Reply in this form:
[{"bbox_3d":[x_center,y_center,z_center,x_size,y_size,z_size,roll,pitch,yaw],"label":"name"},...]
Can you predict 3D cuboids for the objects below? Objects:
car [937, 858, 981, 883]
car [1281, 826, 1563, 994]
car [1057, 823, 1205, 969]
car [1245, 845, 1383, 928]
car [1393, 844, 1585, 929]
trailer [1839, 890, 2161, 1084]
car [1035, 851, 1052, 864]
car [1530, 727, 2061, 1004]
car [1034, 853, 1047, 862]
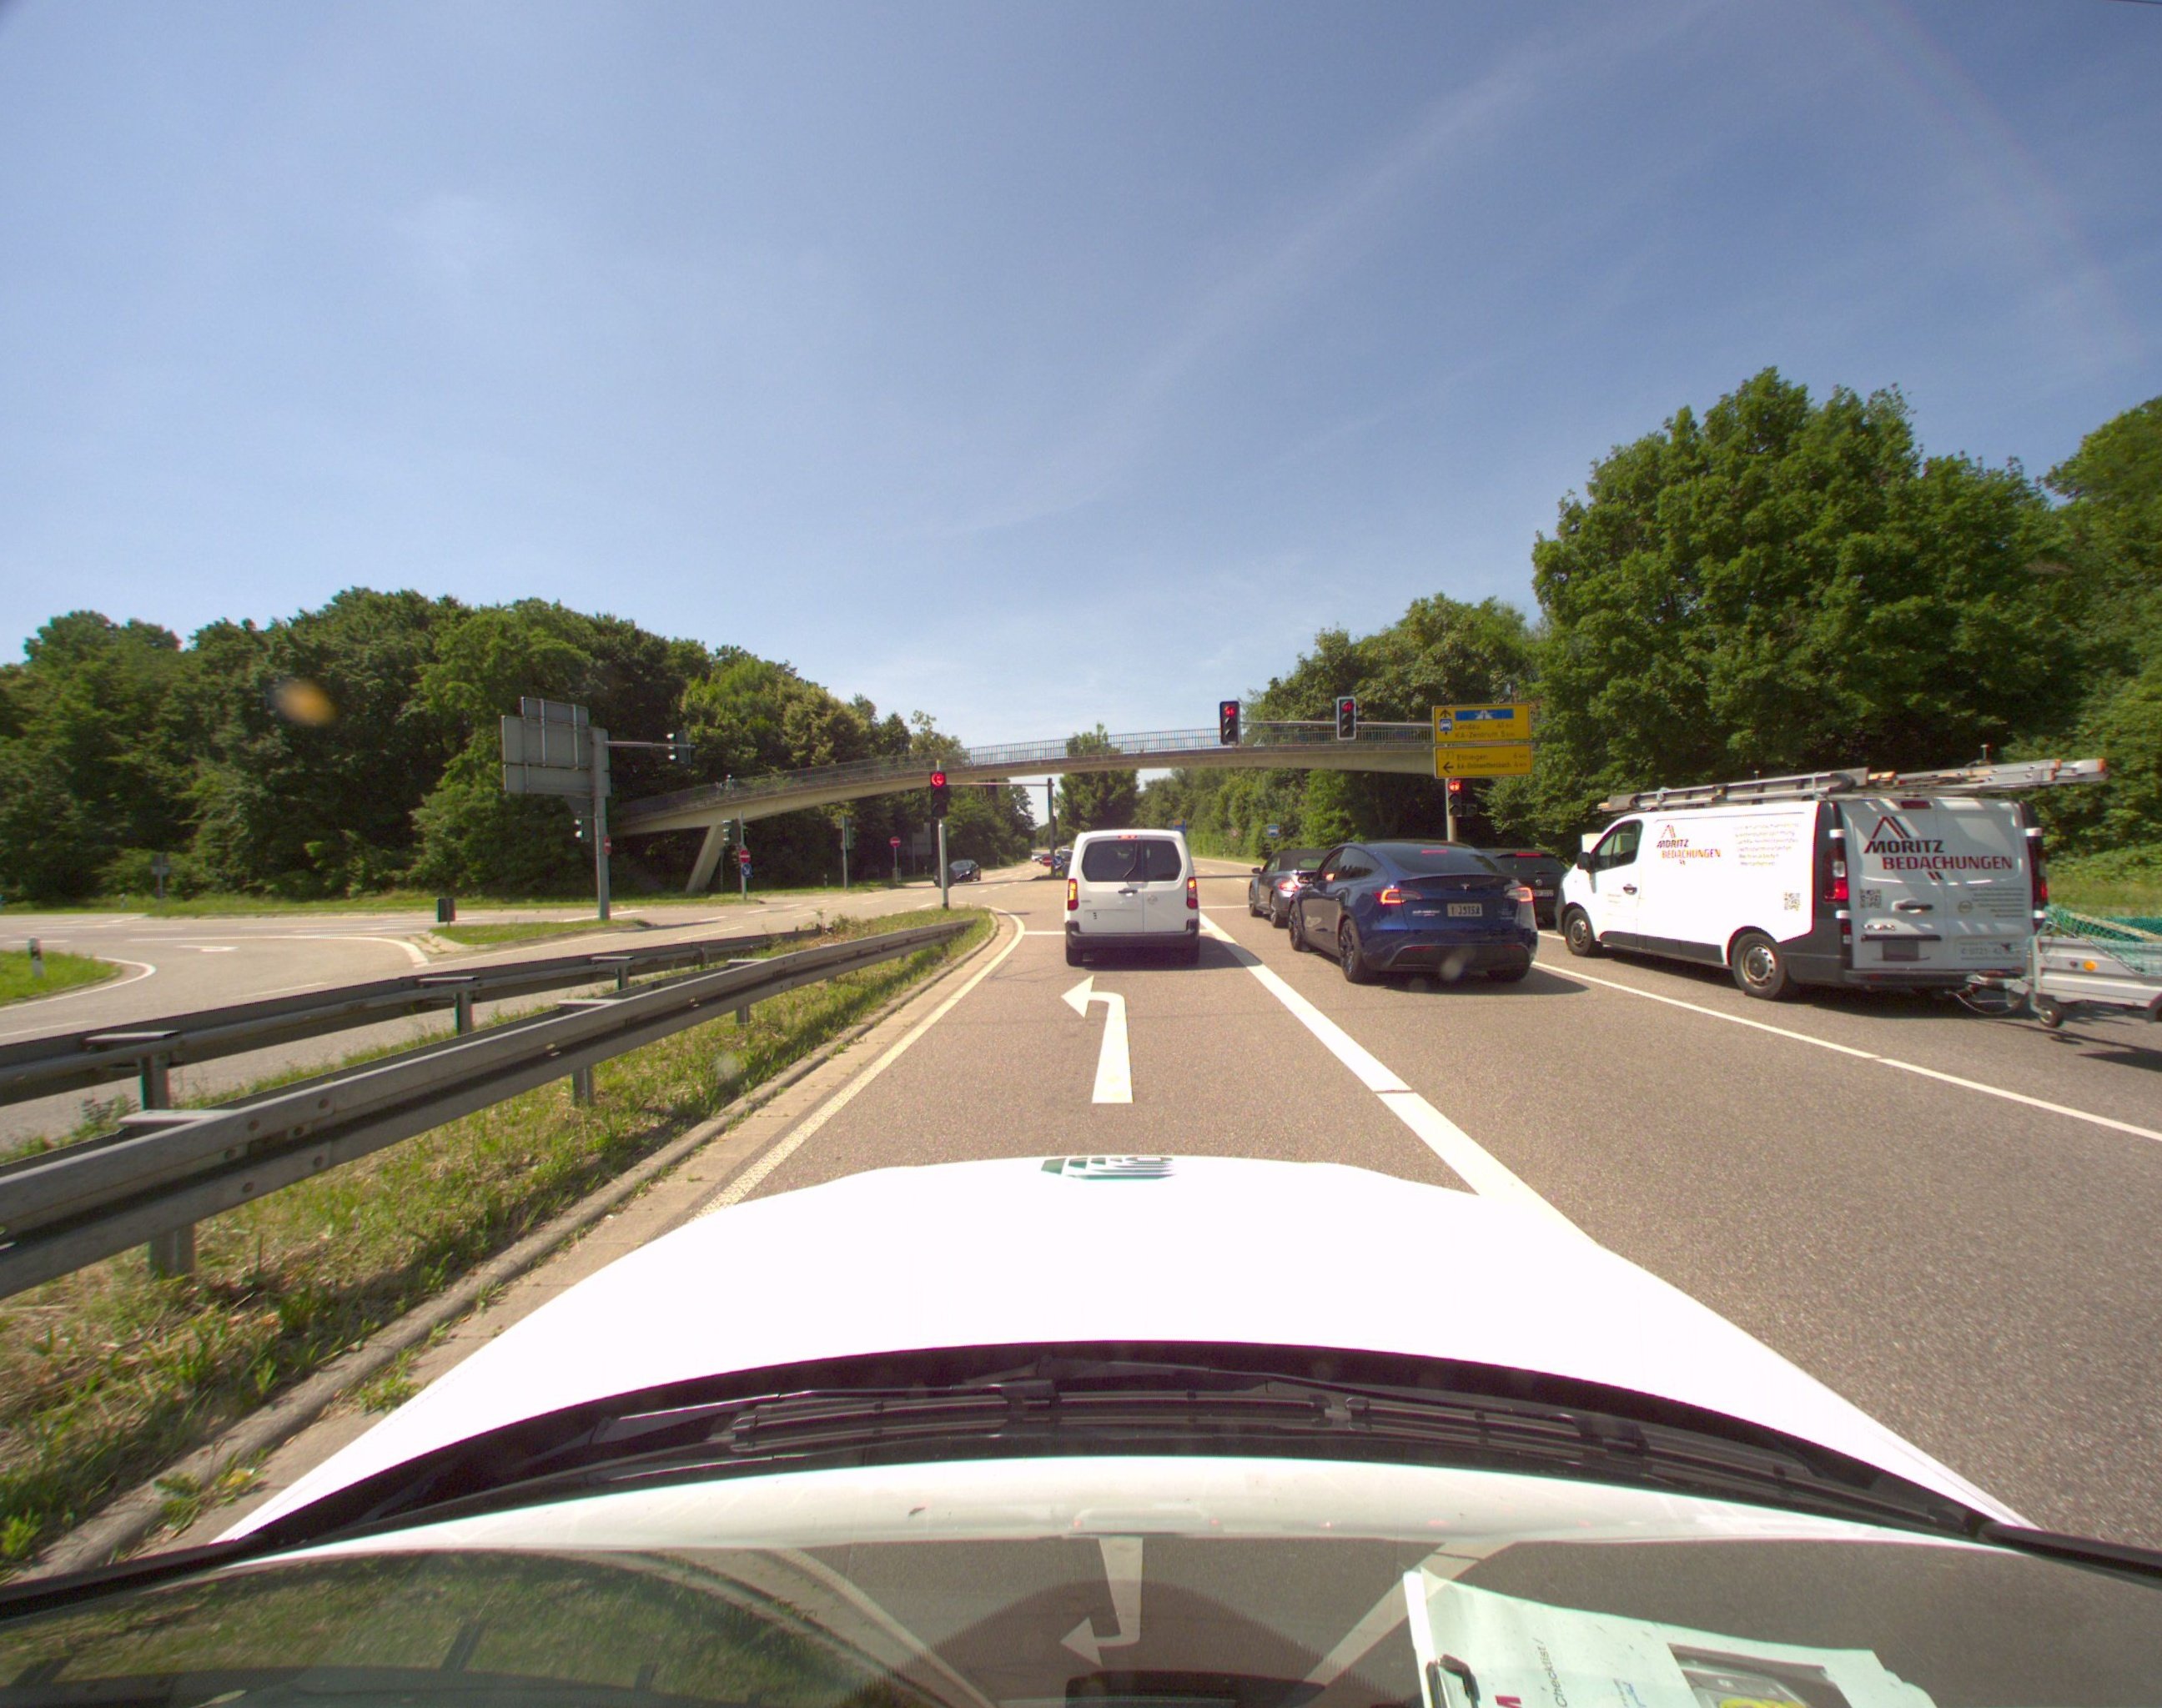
[{"bbox_3d":[-7.979,1.075,53.710,1.999,1.460,4.059,-4,0,3],"label":"car"},{"bbox_3d":[3.899,0.538,10.268,1.892,1.644,4.524,-1,0,3],"label":"car"},{"bbox_3d":[0.722,0.494,12.240,1.842,1.825,3.984,-1,1,3],"label":"car"},{"bbox_3d":[4.574,0.575,16.580,1.892,1.477,3.943,-1,0,3],"label":"car"},{"bbox_3d":[7.981,0.553,16.449,1.892,1.477,4.384,-1,0,3],"label":"car"},{"bbox_3d":[7.230,0.832,5.260,1.698,1.006,3.327,-1,0,3],"label":"trailer"},{"bbox_3d":[-5.375,0.460,116.331,1.985,1.665,4.004,-3,0,3],"label":"car"},{"bbox_3d":[7.482,0.091,9.485,1.924,2.349,5.079,-1,0,3],"label":"car"},{"bbox_3d":[-7.032,0.591,140.640,1.745,1.406,4.004,-3,0,3],"label":"car"}]
